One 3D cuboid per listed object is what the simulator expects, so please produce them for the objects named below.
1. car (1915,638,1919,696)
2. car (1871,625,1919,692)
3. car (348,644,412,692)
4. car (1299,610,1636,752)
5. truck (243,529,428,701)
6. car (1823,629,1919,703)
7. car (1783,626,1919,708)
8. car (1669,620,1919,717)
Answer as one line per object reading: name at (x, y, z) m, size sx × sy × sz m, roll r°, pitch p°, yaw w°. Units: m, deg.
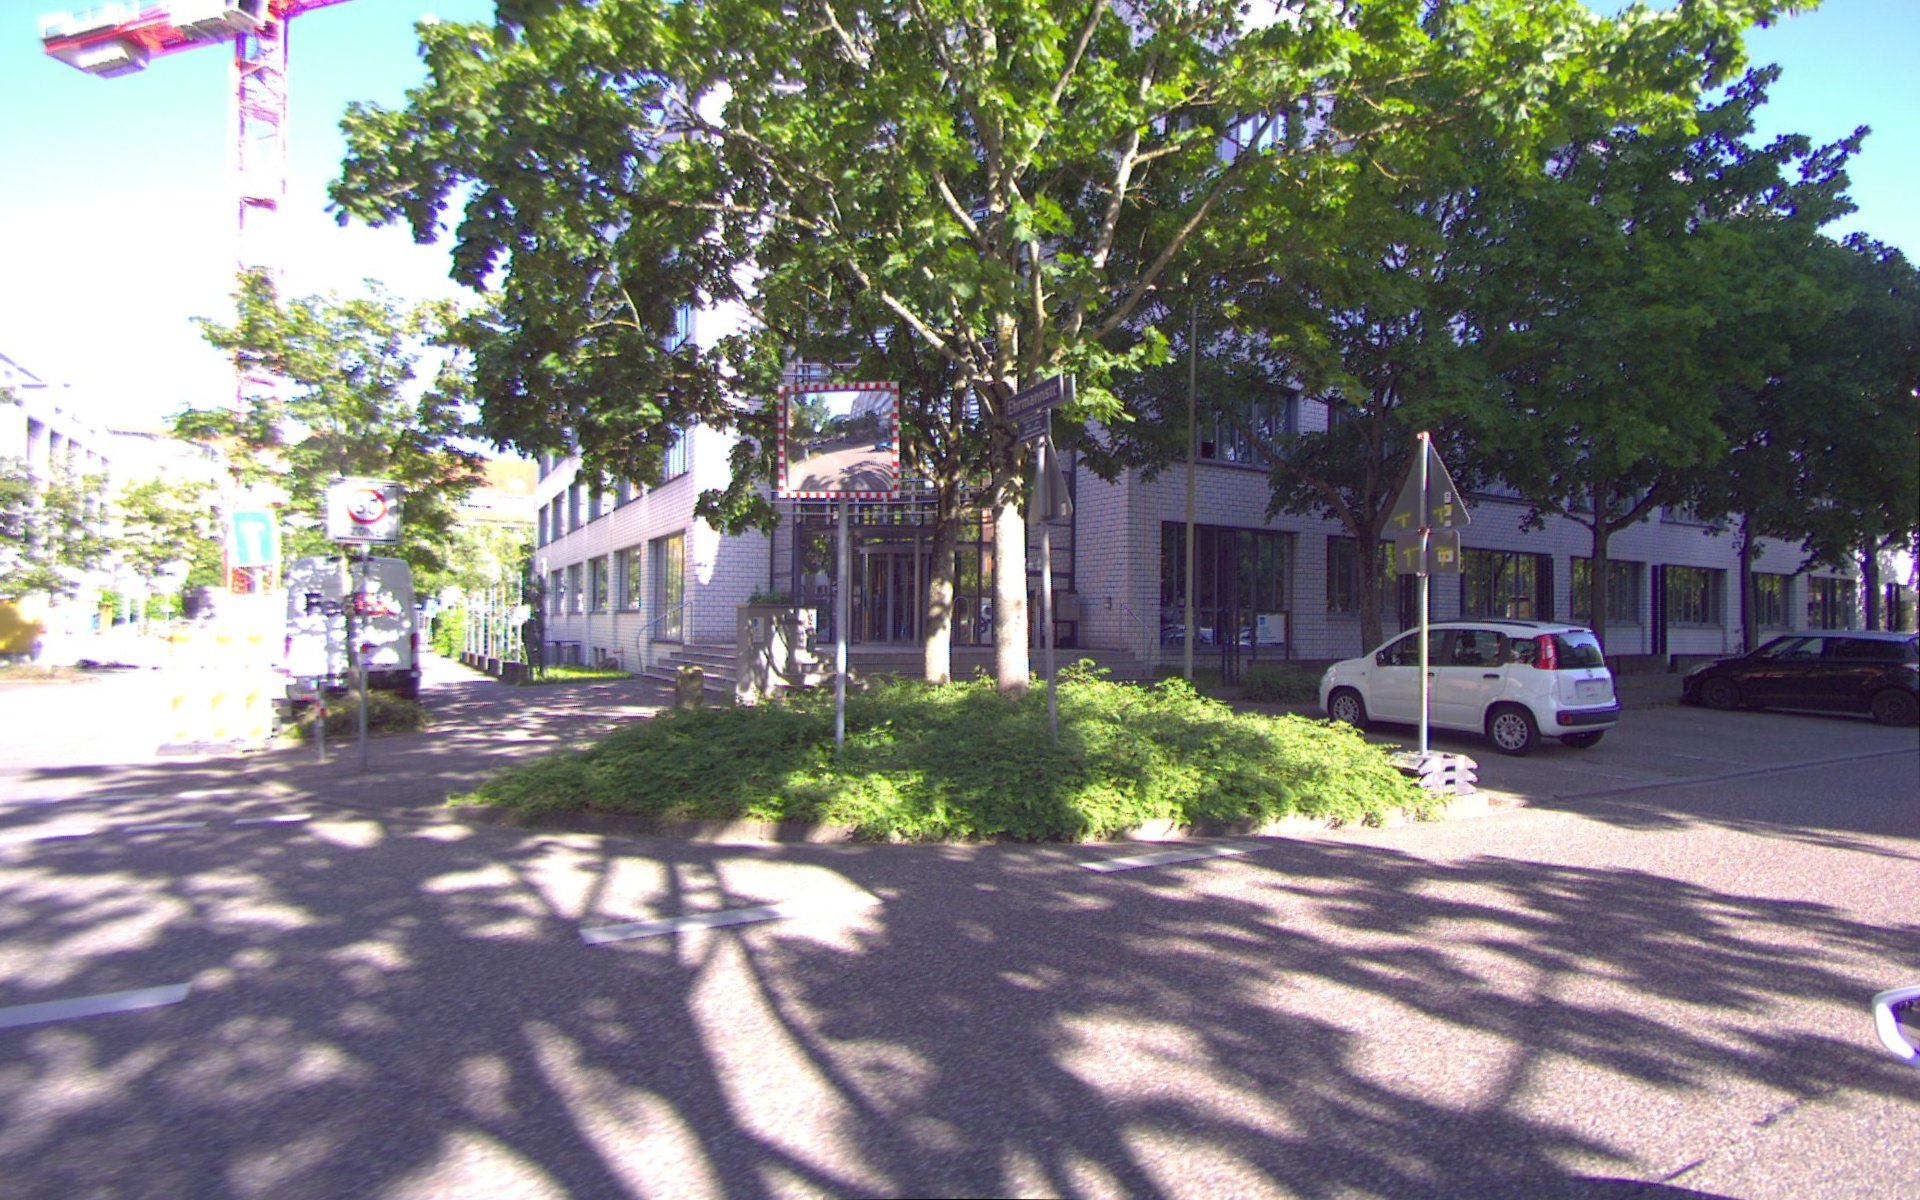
car at (25.327, 1.701, 23.545) m, size 1.647 × 1.431 × 3.966 m, roll 2°, pitch -1°, yaw -31°
car at (22.911, 1.354, 22.505) m, size 1.679 × 1.483 × 3.397 m, roll 1°, pitch 0°, yaw -34°
car at (-22.161, 2.563, 38.519) m, size 1.985 × 1.700 × 3.970 m, roll 2°, pitch -2°, yaw -29°
car at (6.418, 0.970, 13.053) m, size 1.620 × 1.569 × 3.561 m, roll 5°, pitch -3°, yaw -31°
truck at (-11.863, 0.333, 19.293) m, size 2.549 × 2.740 × 6.073 m, roll 2°, pitch -2°, yaw -31°
car at (20.982, 1.417, 21.206) m, size 1.735 × 1.476 × 3.845 m, roll 0°, pitch 1°, yaw -32°
car at (18.803, 1.336, 19.730) m, size 1.612 × 1.464 × 3.745 m, roll 2°, pitch 0°, yaw -29°
car at (14.821, 1.123, 17.504) m, size 1.657 × 1.483 × 3.715 m, roll 2°, pitch -2°, yaw -30°
